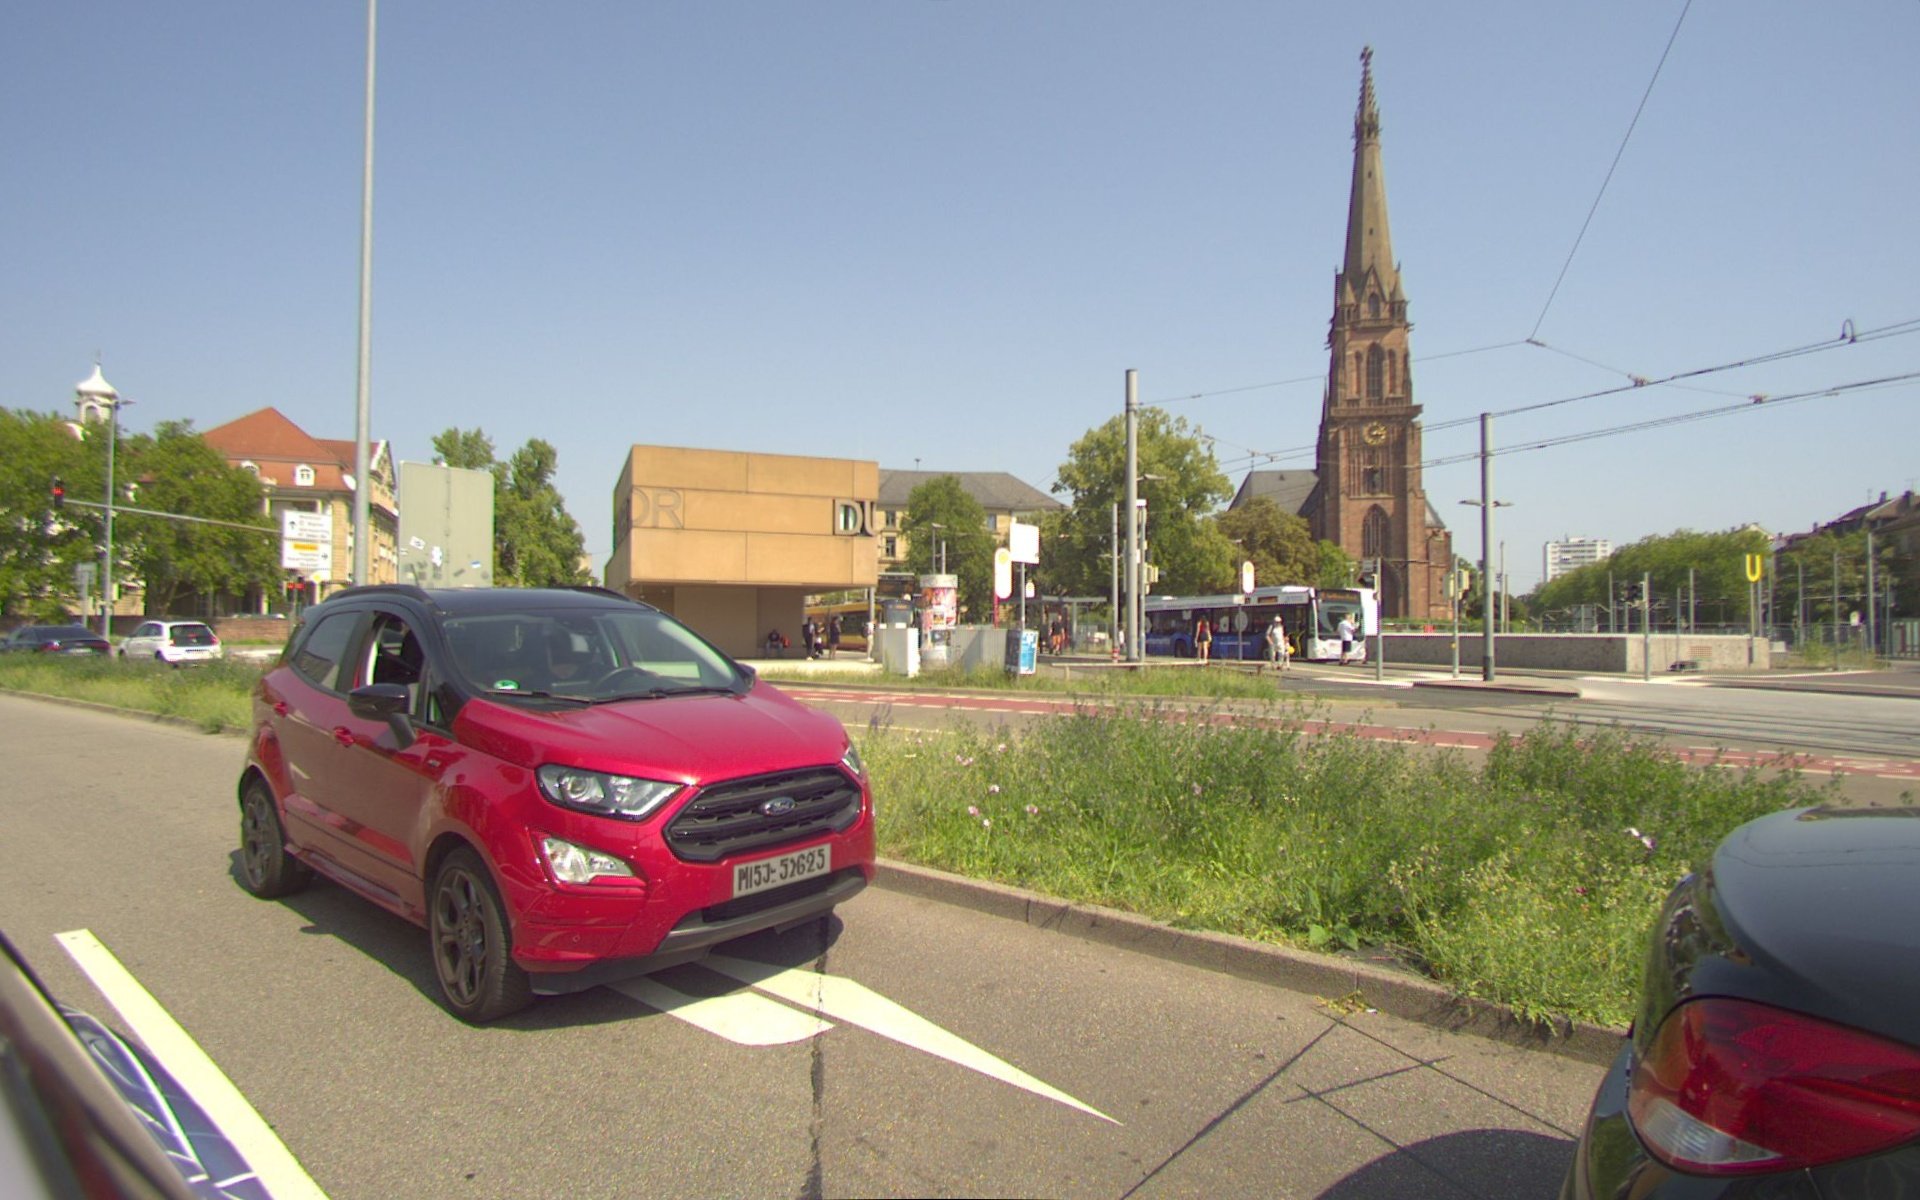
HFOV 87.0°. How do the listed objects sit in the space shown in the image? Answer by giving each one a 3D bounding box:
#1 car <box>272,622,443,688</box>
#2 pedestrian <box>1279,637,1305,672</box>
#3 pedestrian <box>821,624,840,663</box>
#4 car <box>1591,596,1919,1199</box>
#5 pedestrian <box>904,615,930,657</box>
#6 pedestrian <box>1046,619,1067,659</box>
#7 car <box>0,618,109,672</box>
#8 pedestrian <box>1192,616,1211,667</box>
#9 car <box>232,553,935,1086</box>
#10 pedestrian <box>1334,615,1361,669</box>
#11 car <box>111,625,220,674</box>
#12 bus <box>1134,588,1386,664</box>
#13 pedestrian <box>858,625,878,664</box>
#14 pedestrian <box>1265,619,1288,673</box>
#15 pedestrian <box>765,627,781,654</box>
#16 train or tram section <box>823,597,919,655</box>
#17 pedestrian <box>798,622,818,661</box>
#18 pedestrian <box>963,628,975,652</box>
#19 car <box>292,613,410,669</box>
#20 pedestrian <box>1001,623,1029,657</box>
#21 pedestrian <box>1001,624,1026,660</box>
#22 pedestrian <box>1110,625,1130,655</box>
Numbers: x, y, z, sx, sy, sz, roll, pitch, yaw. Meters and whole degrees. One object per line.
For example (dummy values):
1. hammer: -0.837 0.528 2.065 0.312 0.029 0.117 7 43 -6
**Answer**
1. car: -15.976 1.400 26.772 4.700 1.597 1.978 -1 -2 32
2. pedestrian: 10.885 1.782 33.168 0.629 1.134 0.601 -1 0 1
3. pedestrian: -5.089 1.697 39.823 0.541 1.508 0.532 -1 -3 39
4. car: 2.690 0.662 0.447 1.745 1.398 3.783 0 -1 -45
5. pedestrian: -1.579 1.311 37.170 0.605 1.508 0.761 -1 -3 39
6. pedestrian: 4.439 1.773 46.427 0.792 1.837 0.535 1 -2 -21
7. car: -25.962 1.263 28.927 3.466 1.437 1.510 -1 -2 32
8. pedestrian: 8.810 1.517 36.902 0.632 1.825 0.599 -1 0 16
9. car: -2.089 0.692 4.970 3.844 1.598 1.672 -2 -1 43
10. pedestrian: 13.495 1.451 35.287 0.592 1.825 0.640 -1 0 -35
11. car: -25.355 1.537 32.286 3.462 1.490 1.511 -1 -2 29
12. bus: 12.036 1.127 42.795 3.346 2.733 12.382 1 -2 -21
13. pedestrian: -3.627 1.755 39.896 0.541 1.508 0.532 -1 -3 39
14. pedestrian: 10.271 1.487 32.883 0.529 1.724 0.692 0 -2 2
15. pedestrian: -7.525 1.630 40.703 0.530 1.108 0.543 1 -2 -18
16. train or tram section: -6.186 1.796 67.192 2.658 3.465 13.464 1 -2 -21
17. pedestrian: -5.885 1.603 39.082 0.541 1.508 0.532 -1 -3 39
18. pedestrian: 0.536 2.344 59.053 0.546 1.405 0.535 1 -2 -21
19. car: -21.458 1.400 35.654 3.898 1.868 1.851 0 -2 29
20. pedestrian: 2.783 2.004 50.872 1.060 1.709 1.068 1 -2 -21
21. pedestrian: 2.687 2.109 51.021 0.913 1.837 0.940 1 -2 -21
22. pedestrian: 8.855 2.211 56.052 0.779 1.645 0.758 1 -2 -19
